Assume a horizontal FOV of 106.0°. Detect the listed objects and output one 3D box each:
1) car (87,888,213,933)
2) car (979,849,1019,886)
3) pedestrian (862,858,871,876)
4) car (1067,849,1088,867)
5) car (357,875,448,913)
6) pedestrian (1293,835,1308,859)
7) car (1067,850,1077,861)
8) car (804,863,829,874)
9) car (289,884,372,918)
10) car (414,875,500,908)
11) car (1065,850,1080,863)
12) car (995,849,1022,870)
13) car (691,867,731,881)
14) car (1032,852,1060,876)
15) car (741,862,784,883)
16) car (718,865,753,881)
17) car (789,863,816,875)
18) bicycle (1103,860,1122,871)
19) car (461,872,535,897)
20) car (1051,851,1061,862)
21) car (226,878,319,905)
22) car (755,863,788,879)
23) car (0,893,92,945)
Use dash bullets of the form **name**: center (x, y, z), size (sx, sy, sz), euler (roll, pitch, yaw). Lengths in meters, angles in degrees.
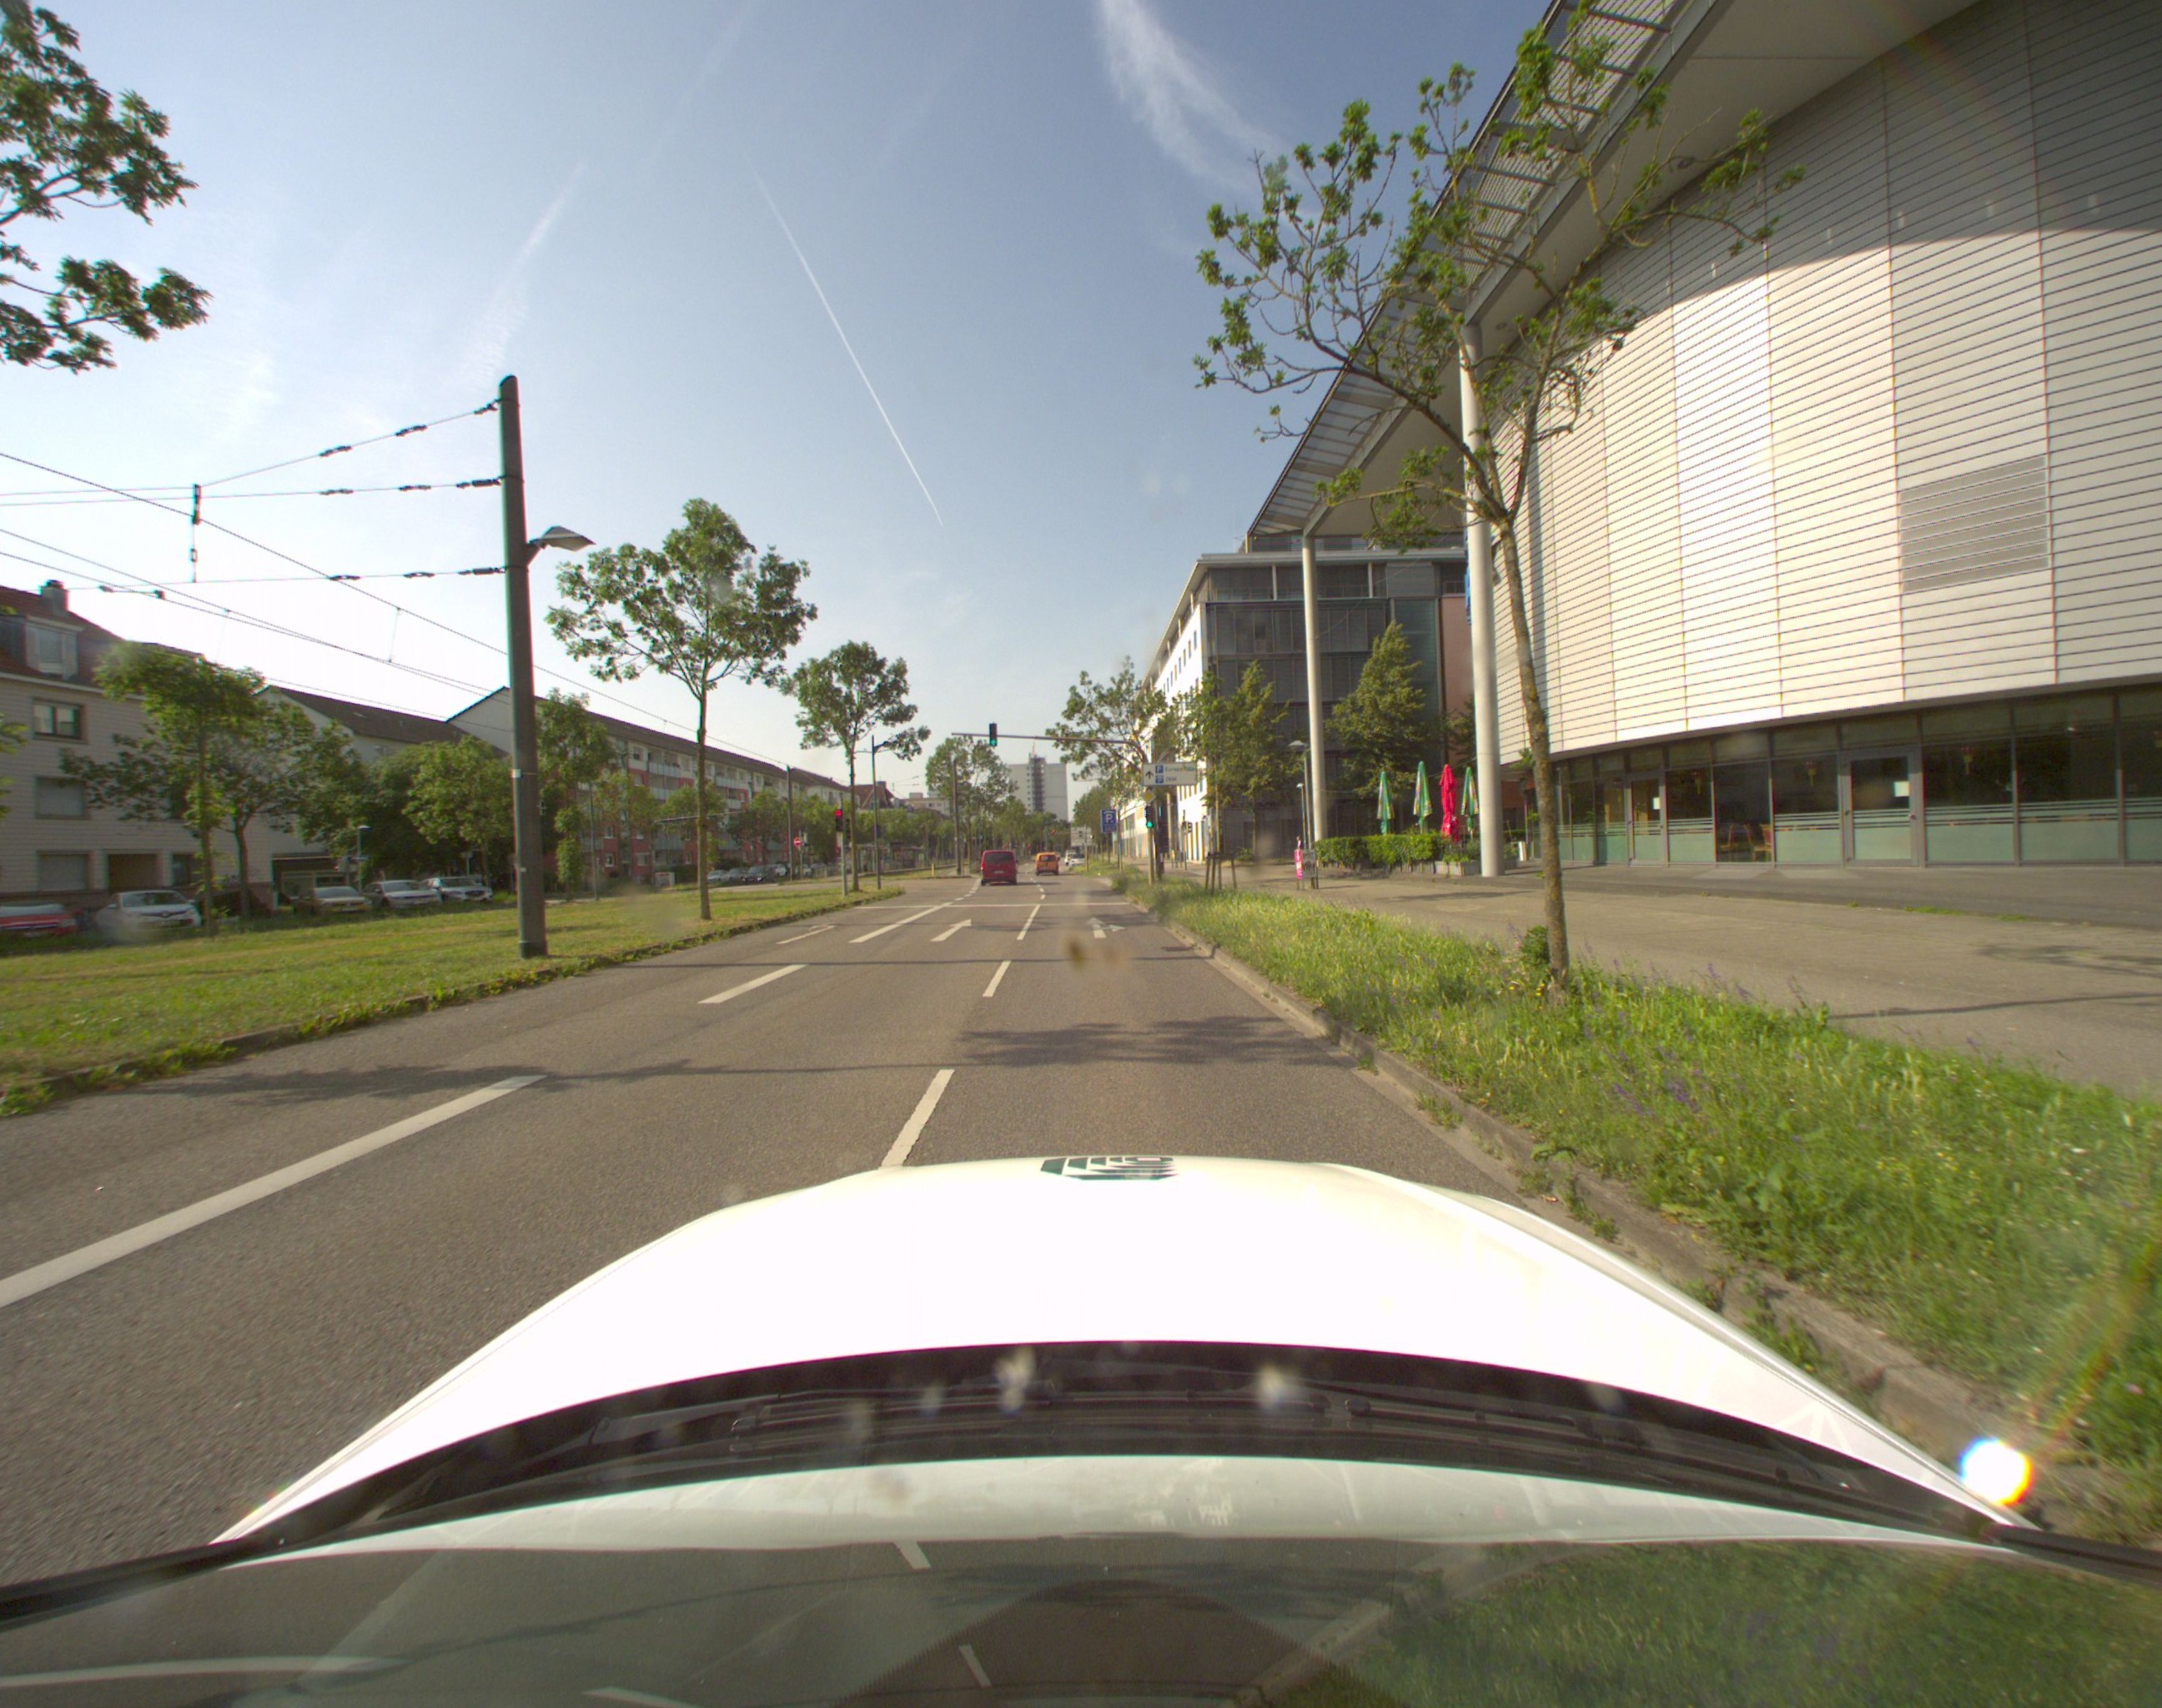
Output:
- **car**: center (-30.619, 1.806, 26.781), size (3.949, 1.269, 1.898), euler (-1, 0, 28)
- **car**: center (-4.367, 0.678, 43.951), size (1.870, 1.853, 3.997), euler (-2, 0, -2)
- **pedestrian**: center (-20.603, 1.222, 78.250), size (0.670, 1.653, 0.793), euler (-2, 0, -6)
- **car**: center (-0.323, 0.364, 73.066), size (1.716, 1.519, 3.778), euler (-2, 0, -2)
- **car**: center (-30.392, 1.774, 36.444), size (4.406, 1.514, 2.013), euler (-2, 0, 35)
- **pedestrian**: center (15.190, -0.507, 56.405), size (0.775, 1.616, 0.712), euler (-2, 0, -3)
- **car**: center (-1.849, 0.283, 163.012), size (1.988, 2.013, 3.998), euler (-1, 0, -1)
- **car**: center (-33.894, 1.852, 104.481), size (1.975, 1.360, 4.066), euler (-1, 0, -2)
- **car**: center (-31.208, 1.906, 33.827), size (3.949, 1.178, 2.013), euler (-1, 0, 40)
- **car**: center (-30.719, 1.806, 40.070), size (4.297, 1.463, 1.976), euler (-1, 0, 32)
- **car**: center (-0.987, 0.301, 99.308), size (1.684, 1.526, 3.849), euler (-4, 0, -1)
- **car**: center (-6.237, 0.477, 70.099), size (1.988, 1.706, 3.998), euler (-2, 0, -1)
- **car**: center (-33.369, 1.813, 73.501), size (1.828, 1.147, 4.162), euler (-1, 0, -2)
- **car**: center (-2.646, 0.746, 62.201), size (1.870, 1.696, 3.972), euler (-2, 0, 0)
- **car**: center (-28.677, 1.659, 73.427), size (1.987, 1.706, 4.712), euler (-2, 0, 0)
- **car**: center (-33.612, 1.822, 79.347), size (1.828, 1.471, 3.824), euler (-1, 0, -2)
- **car**: center (-33.873, 1.846, 99.234), size (1.975, 1.360, 4.066), euler (-1, 0, -2)
- **bicycle**: center (2.300, 0.824, 58.846), size (1.265, 0.632, 0.522), euler (-8, -1, 5)
- **car**: center (-43.651, 2.247, 61.057), size (3.975, 1.695, 1.999), euler (-2, 0, -1)
- **car**: center (-4.994, 0.463, 161.734), size (1.988, 2.013, 3.997), euler (-2, 0, -2)
- **car**: center (-51.683, 2.405, 52.108), size (3.973, 1.605, 1.999), euler (-1, 0, 1)
- **car**: center (-33.897, 1.836, 89.350), size (1.975, 1.556, 4.534), euler (-1, 0, -2)
- **car**: center (-30.631, 1.846, 23.645), size (3.948, 1.258, 1.888), euler (-1, 0, 31)
